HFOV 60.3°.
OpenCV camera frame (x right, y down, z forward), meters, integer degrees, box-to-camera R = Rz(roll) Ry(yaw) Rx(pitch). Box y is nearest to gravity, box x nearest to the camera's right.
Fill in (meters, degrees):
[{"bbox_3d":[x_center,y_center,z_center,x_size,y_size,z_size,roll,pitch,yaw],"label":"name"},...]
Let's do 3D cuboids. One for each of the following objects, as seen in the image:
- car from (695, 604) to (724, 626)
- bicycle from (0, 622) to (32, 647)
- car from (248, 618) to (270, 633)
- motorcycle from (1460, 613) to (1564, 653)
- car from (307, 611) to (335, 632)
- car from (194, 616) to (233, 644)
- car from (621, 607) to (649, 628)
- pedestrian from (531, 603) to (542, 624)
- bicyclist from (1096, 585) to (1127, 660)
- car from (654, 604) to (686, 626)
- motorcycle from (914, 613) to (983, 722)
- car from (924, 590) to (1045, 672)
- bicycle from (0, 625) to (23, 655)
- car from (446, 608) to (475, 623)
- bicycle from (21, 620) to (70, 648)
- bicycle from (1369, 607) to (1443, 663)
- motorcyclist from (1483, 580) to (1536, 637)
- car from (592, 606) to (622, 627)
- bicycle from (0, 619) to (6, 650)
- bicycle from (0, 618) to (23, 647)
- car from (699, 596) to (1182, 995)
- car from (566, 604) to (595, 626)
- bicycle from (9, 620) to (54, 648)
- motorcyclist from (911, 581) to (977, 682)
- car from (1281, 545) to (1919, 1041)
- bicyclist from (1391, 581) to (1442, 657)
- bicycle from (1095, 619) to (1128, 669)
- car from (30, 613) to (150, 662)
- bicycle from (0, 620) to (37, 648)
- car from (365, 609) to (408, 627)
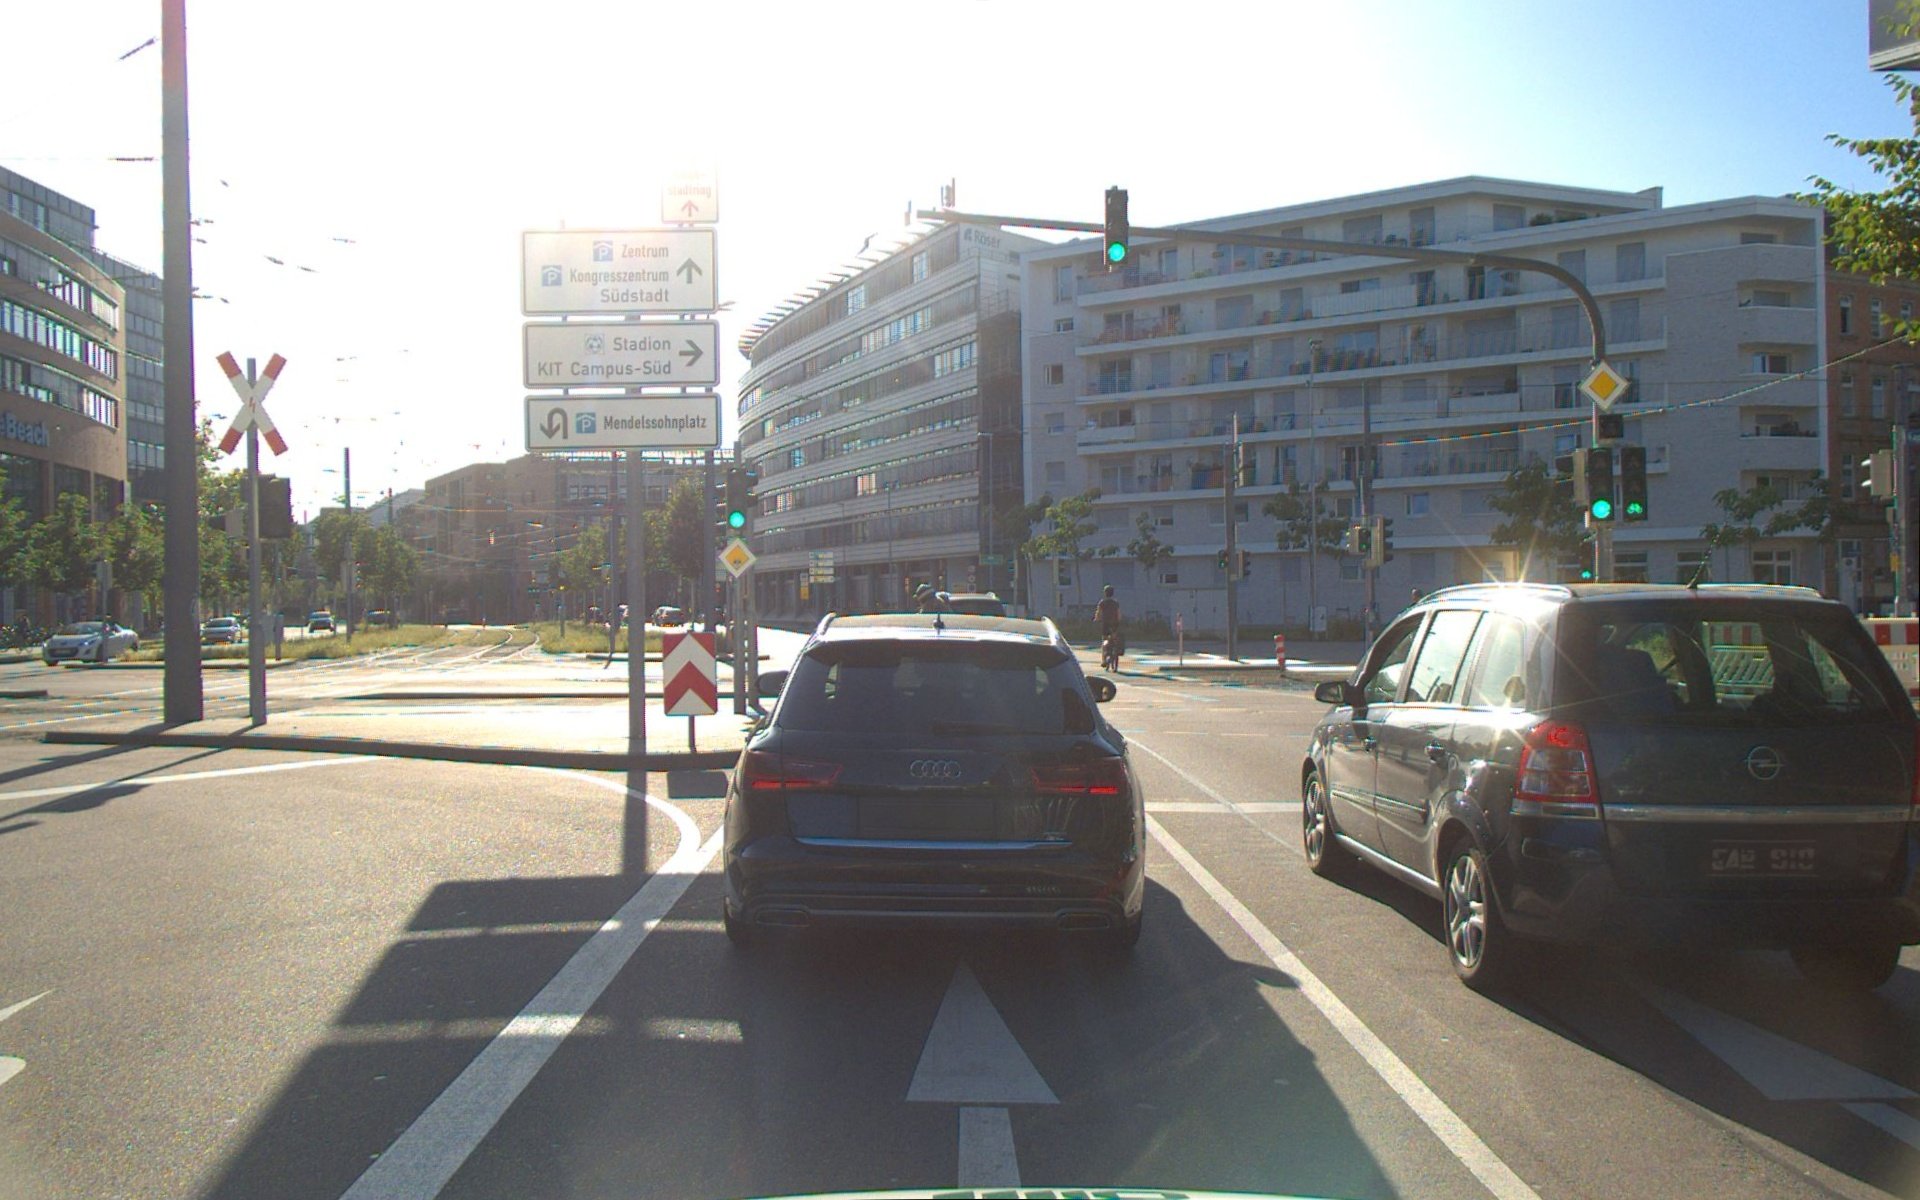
[{"bbox_3d":[-22.183,1.359,146.288,1.961,1.870,3.982,-1,-1,-16],"label":"car"},{"bbox_3d":[-50.639,1.853,87.887,2.362,1.257,0.745,-2,-1,8],"label":"bicycle"},{"bbox_3d":[-83.507,3.059,196.983,1.972,1.713,3.960,-1,0,-30],"label":"car"},{"bbox_3d":[15.044,0.893,45.115,2.408,1.018,1.169,-1,0,-10],"label":"motorcycle"},{"bbox_3d":[-53.086,1.748,137.462,1.964,1.668,4.386,-1,0,-19],"label":"car"},{"bbox_3d":[-42.312,1.681,93.662,1.871,1.431,3.966,-2,0,-26],"label":"car"},{"bbox_3d":[-26.858,1.445,136.552,1.961,1.624,3.982,-1,-1,-16],"label":"car"},{"bbox_3d":[-38.423,1.216,149.924,0.888,1.856,0.825,-1,-2,-18],"label":"pedestrian"},{"bbox_3d":[3.453,0.502,37.807,0.640,1.671,0.972,-1,0,2],"label":"bicyclist"},{"bbox_3d":[-23.559,1.217,134.299,1.964,1.624,3.977,-1,-1,-19],"label":"car"},{"bbox_3d":[-0.180,0.887,22.642,0.845,1.417,1.892,-1,0,-3],"label":"motorcycle"},{"bbox_3d":[0.483,0.666,38.130,1.967,1.745,4.361,1,0,-11],"label":"car"},{"bbox_3d":[-46.834,1.962,80.088,2.507,1.458,0.905,-2,-1,8],"label":"bicycle"},{"bbox_3d":[-56.803,1.761,188.252,1.952,1.668,4.412,-1,0,0],"label":"car"},{"bbox_3d":[-50.837,1.875,91.946,2.369,1.458,0.789,-2,-1,8],"label":"bicycle"},{"bbox_3d":[10.595,0.813,39.328,0.753,1.284,2.073,-1,0,-15],"label":"bicycle"},{"bbox_3d":[14.987,0.229,45.117,0.908,1.507,1.169,-1,0,-10],"label":"motorcyclist"},{"bbox_3d":[-30.321,1.415,142.015,1.964,1.736,3.978,-1,-1,-19],"label":"car"},{"bbox_3d":[-46.401,1.640,77.850,2.507,1.458,0.905,-2,-1,8],"label":"bicycle"},{"bbox_3d":[-50.457,1.734,86.464,2.551,1.458,0.772,-2,-1,8],"label":"bicycle"},{"bbox_3d":[-0.113,0.738,8.241,1.805,1.479,3.999,1,0,-1],"label":"car"},{"bbox_3d":[-32.414,1.282,141.189,1.964,1.736,3.978,-1,-1,-19],"label":"car"},{"bbox_3d":[-50.943,1.872,90.769,2.092,1.458,0.759,-2,-1,8],"label":"bicycle"},{"bbox_3d":[-0.223,0.422,22.561,0.845,1.349,0.681,-1,-1,-4],"label":"motorcyclist"},{"bbox_3d":[2.861,0.702,7.996,1.710,1.725,4.259,1,0,-1],"label":"car"},{"bbox_3d":[10.722,0.444,38.856,0.753,1.736,0.926,-1,-1,-15],"label":"bicyclist"},{"bbox_3d":[3.457,0.990,37.805,0.640,1.061,1.930,-1,0,2],"label":"bicycle"},{"bbox_3d":[-30.036,1.264,57.270,1.954,1.573,4.527,-1,0,-3],"label":"car"},{"bbox_3d":[-50.797,1.832,88.734,2.197,1.458,0.719,-2,-1,8],"label":"bicycle"},{"bbox_3d":[-58.327,1.812,168.233,1.953,1.736,3.999,-2,-1,22],"label":"car"}]
